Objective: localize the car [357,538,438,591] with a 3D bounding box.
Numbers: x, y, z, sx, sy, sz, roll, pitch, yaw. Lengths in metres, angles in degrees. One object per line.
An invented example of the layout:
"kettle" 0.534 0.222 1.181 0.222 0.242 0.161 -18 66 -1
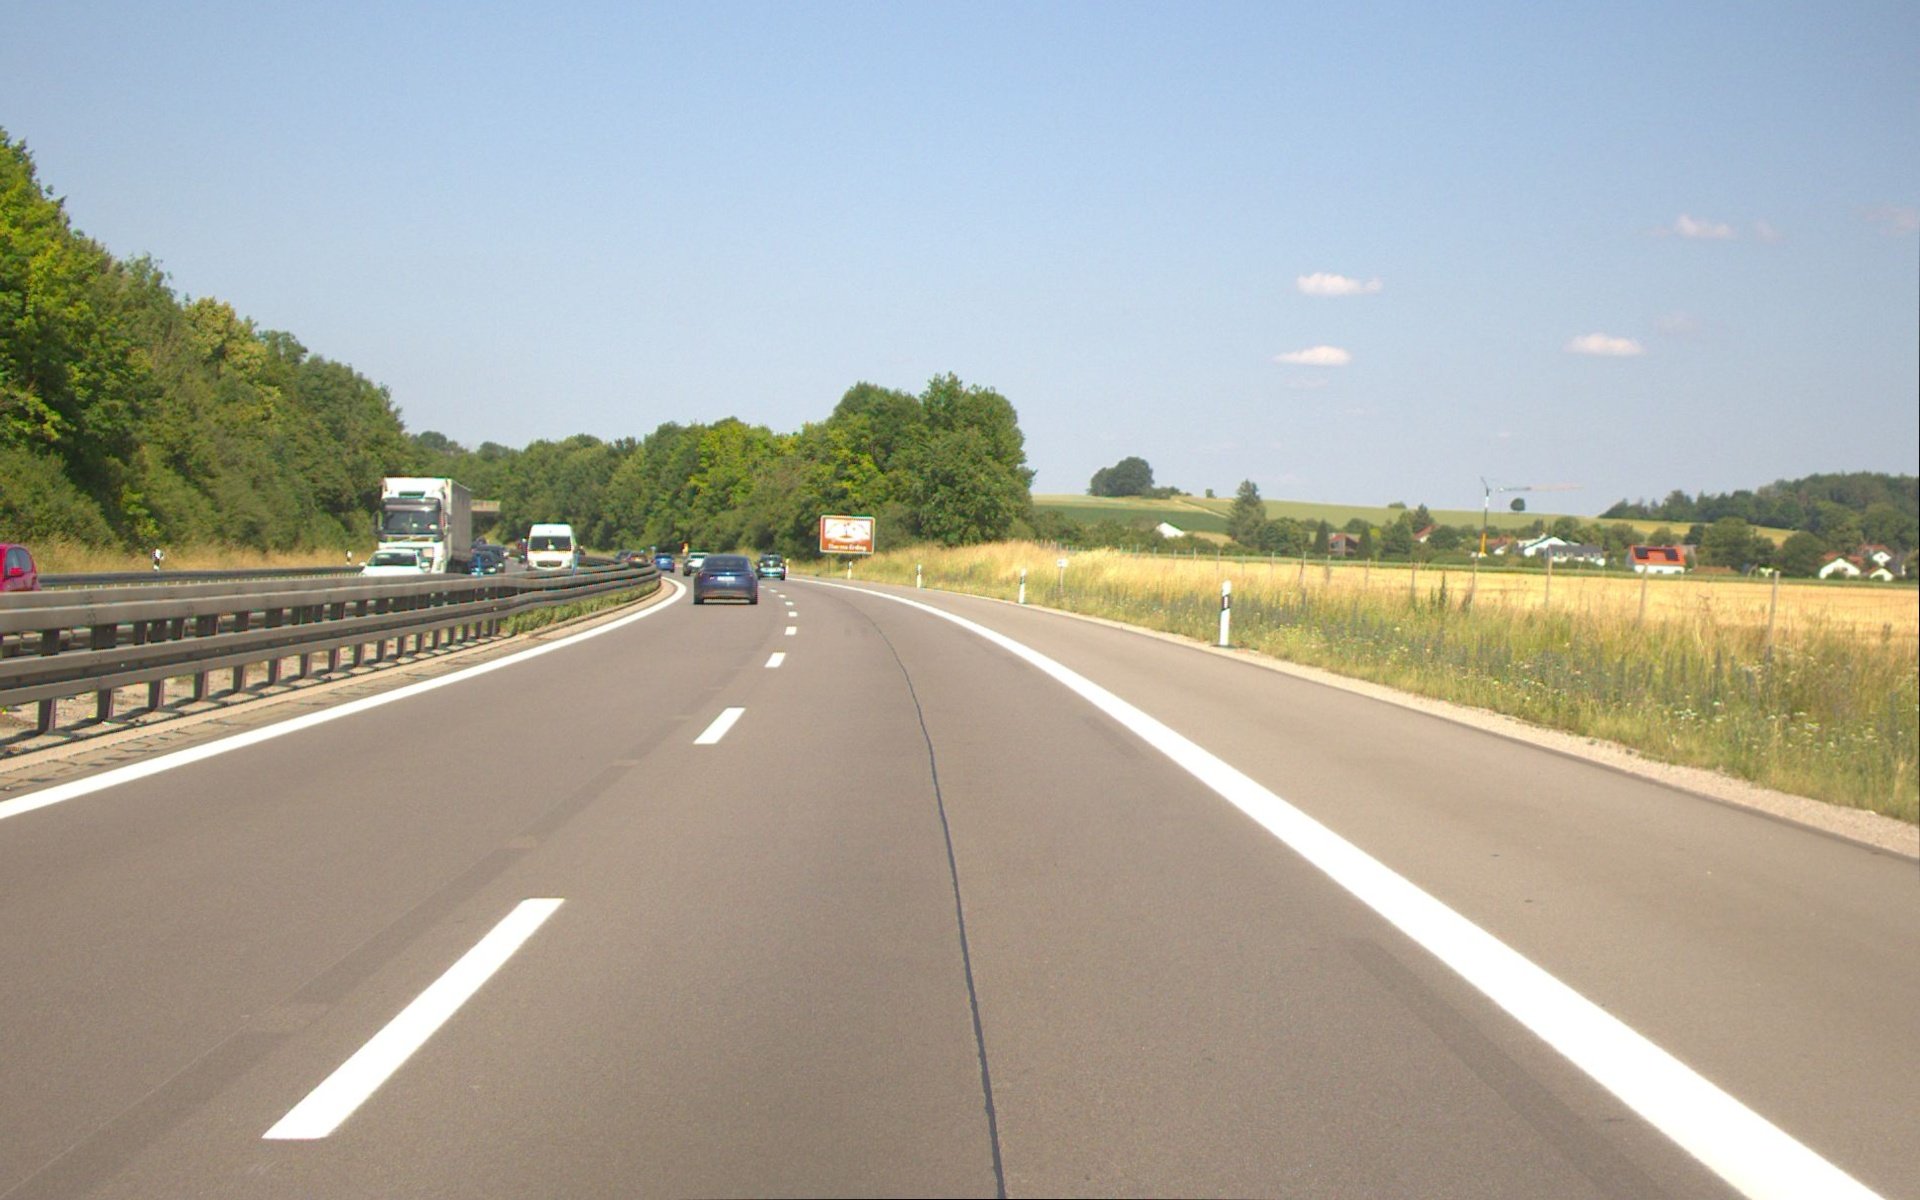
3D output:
"car" -16.370 -1.056 100.235 1.685 1.478 4.978 1 1 -2

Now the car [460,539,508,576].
"car" -21.948 -1.965 158.639 1.757 1.621 4.000 1 1 -2

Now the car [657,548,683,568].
"car" -21.633 -3.143 256.686 1.676 1.448 3.592 1 1 -2

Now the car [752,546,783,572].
"car" -11.010 -2.345 196.606 1.676 1.448 3.592 1 1 -4

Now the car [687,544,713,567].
"car" -17.042 -2.917 225.488 1.676 1.448 3.592 1 1 -4

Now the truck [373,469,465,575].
"truck" -20.146 -2.904 128.295 2.745 3.816 5.913 1 1 -3

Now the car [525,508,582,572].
"car" -17.107 -2.545 144.855 2.088 2.585 5.815 1 1 -4

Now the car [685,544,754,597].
"car" -7.012 -0.891 100.639 1.847 1.428 5.867 1 1 -2

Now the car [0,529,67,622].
"car" -15.760 -0.424 55.527 1.672 1.432 4.142 1 1 -1
